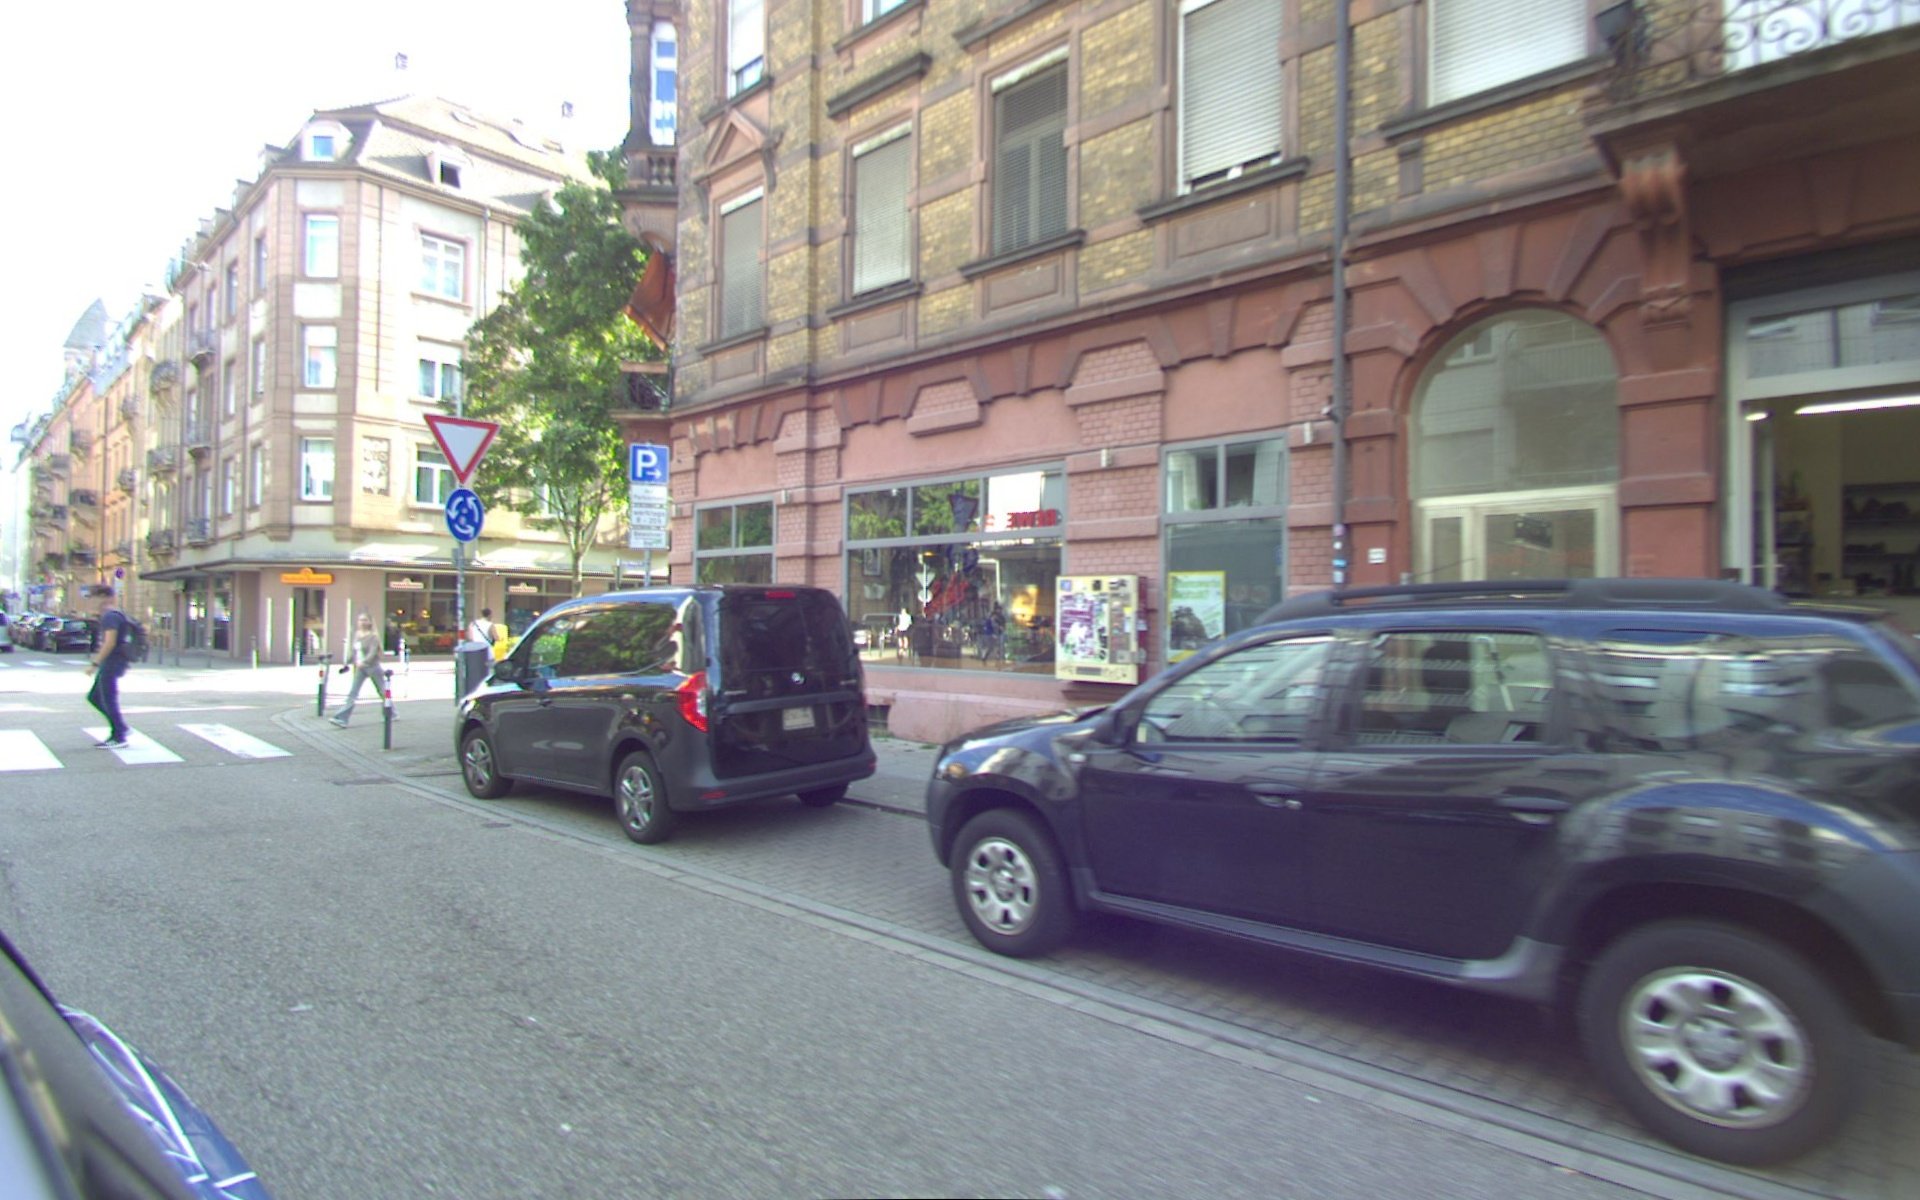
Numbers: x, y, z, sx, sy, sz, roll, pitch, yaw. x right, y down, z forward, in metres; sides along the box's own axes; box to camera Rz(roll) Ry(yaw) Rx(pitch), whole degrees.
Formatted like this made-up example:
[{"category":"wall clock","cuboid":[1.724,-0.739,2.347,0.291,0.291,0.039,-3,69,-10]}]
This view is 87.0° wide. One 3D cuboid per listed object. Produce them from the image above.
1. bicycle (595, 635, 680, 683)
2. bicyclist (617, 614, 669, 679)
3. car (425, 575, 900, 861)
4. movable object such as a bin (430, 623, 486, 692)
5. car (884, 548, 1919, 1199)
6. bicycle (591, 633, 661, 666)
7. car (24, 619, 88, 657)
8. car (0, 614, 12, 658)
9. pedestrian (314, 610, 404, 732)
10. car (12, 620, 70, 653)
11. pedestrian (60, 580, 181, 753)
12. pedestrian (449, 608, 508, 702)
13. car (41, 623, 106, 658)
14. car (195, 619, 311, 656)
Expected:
[{"category":"bicycle","cuboid":[-8.634,1.569,27.170,0.703,1.229,2.087,0,-2,43]},{"category":"bicyclist","cuboid":[-8.539,1.236,27.274,0.703,1.690,1.096,0,-2,43]},{"category":"car","cuboid":[-2.677,0.781,8.456,4.404,1.787,1.741,-2,-1,42]},{"category":"movable object such as a bin","cuboid":[-5.377,0.608,10.839,0.475,0.719,0.379,-2,-1,39]},{"category":"car","cuboid":[1.816,0.744,4.389,4.144,1.650,1.972,-2,-2,42]},{"category":"bicycle","cuboid":[-11.793,1.742,35.810,0.579,1.143,2.399,-1,-2,40]},{"category":"car","cuboid":[-40.933,1.662,45.796,4.399,1.596,1.836,-1,-1,44]},{"category":"car","cuboid":[-41.675,1.571,42.932,4.330,1.804,1.809,-3,-1,43]},{"category":"pedestrian","cuboid":[-8.319,0.967,14.021,0.612,1.590,0.803,-2,1,26]},{"category":"car","cuboid":[-44.822,1.755,49.328,4.132,1.508,1.738,-2,-1,42]},{"category":"pedestrian","cuboid":[-9.450,0.736,11.407,0.676,1.855,0.848,-2,-3,31]},{"category":"pedestrian","cuboid":[-8.856,0.999,18.659,0.790,1.683,1.025,1,-2,-17]},{"category":"car","cuboid":[-37.223,1.667,42.469,3.830,1.379,1.700,-2,-1,44]},{"category":"car","cuboid":[-32.577,1.695,46.718,1.995,1.633,3.954,-1,-1,34]}]
